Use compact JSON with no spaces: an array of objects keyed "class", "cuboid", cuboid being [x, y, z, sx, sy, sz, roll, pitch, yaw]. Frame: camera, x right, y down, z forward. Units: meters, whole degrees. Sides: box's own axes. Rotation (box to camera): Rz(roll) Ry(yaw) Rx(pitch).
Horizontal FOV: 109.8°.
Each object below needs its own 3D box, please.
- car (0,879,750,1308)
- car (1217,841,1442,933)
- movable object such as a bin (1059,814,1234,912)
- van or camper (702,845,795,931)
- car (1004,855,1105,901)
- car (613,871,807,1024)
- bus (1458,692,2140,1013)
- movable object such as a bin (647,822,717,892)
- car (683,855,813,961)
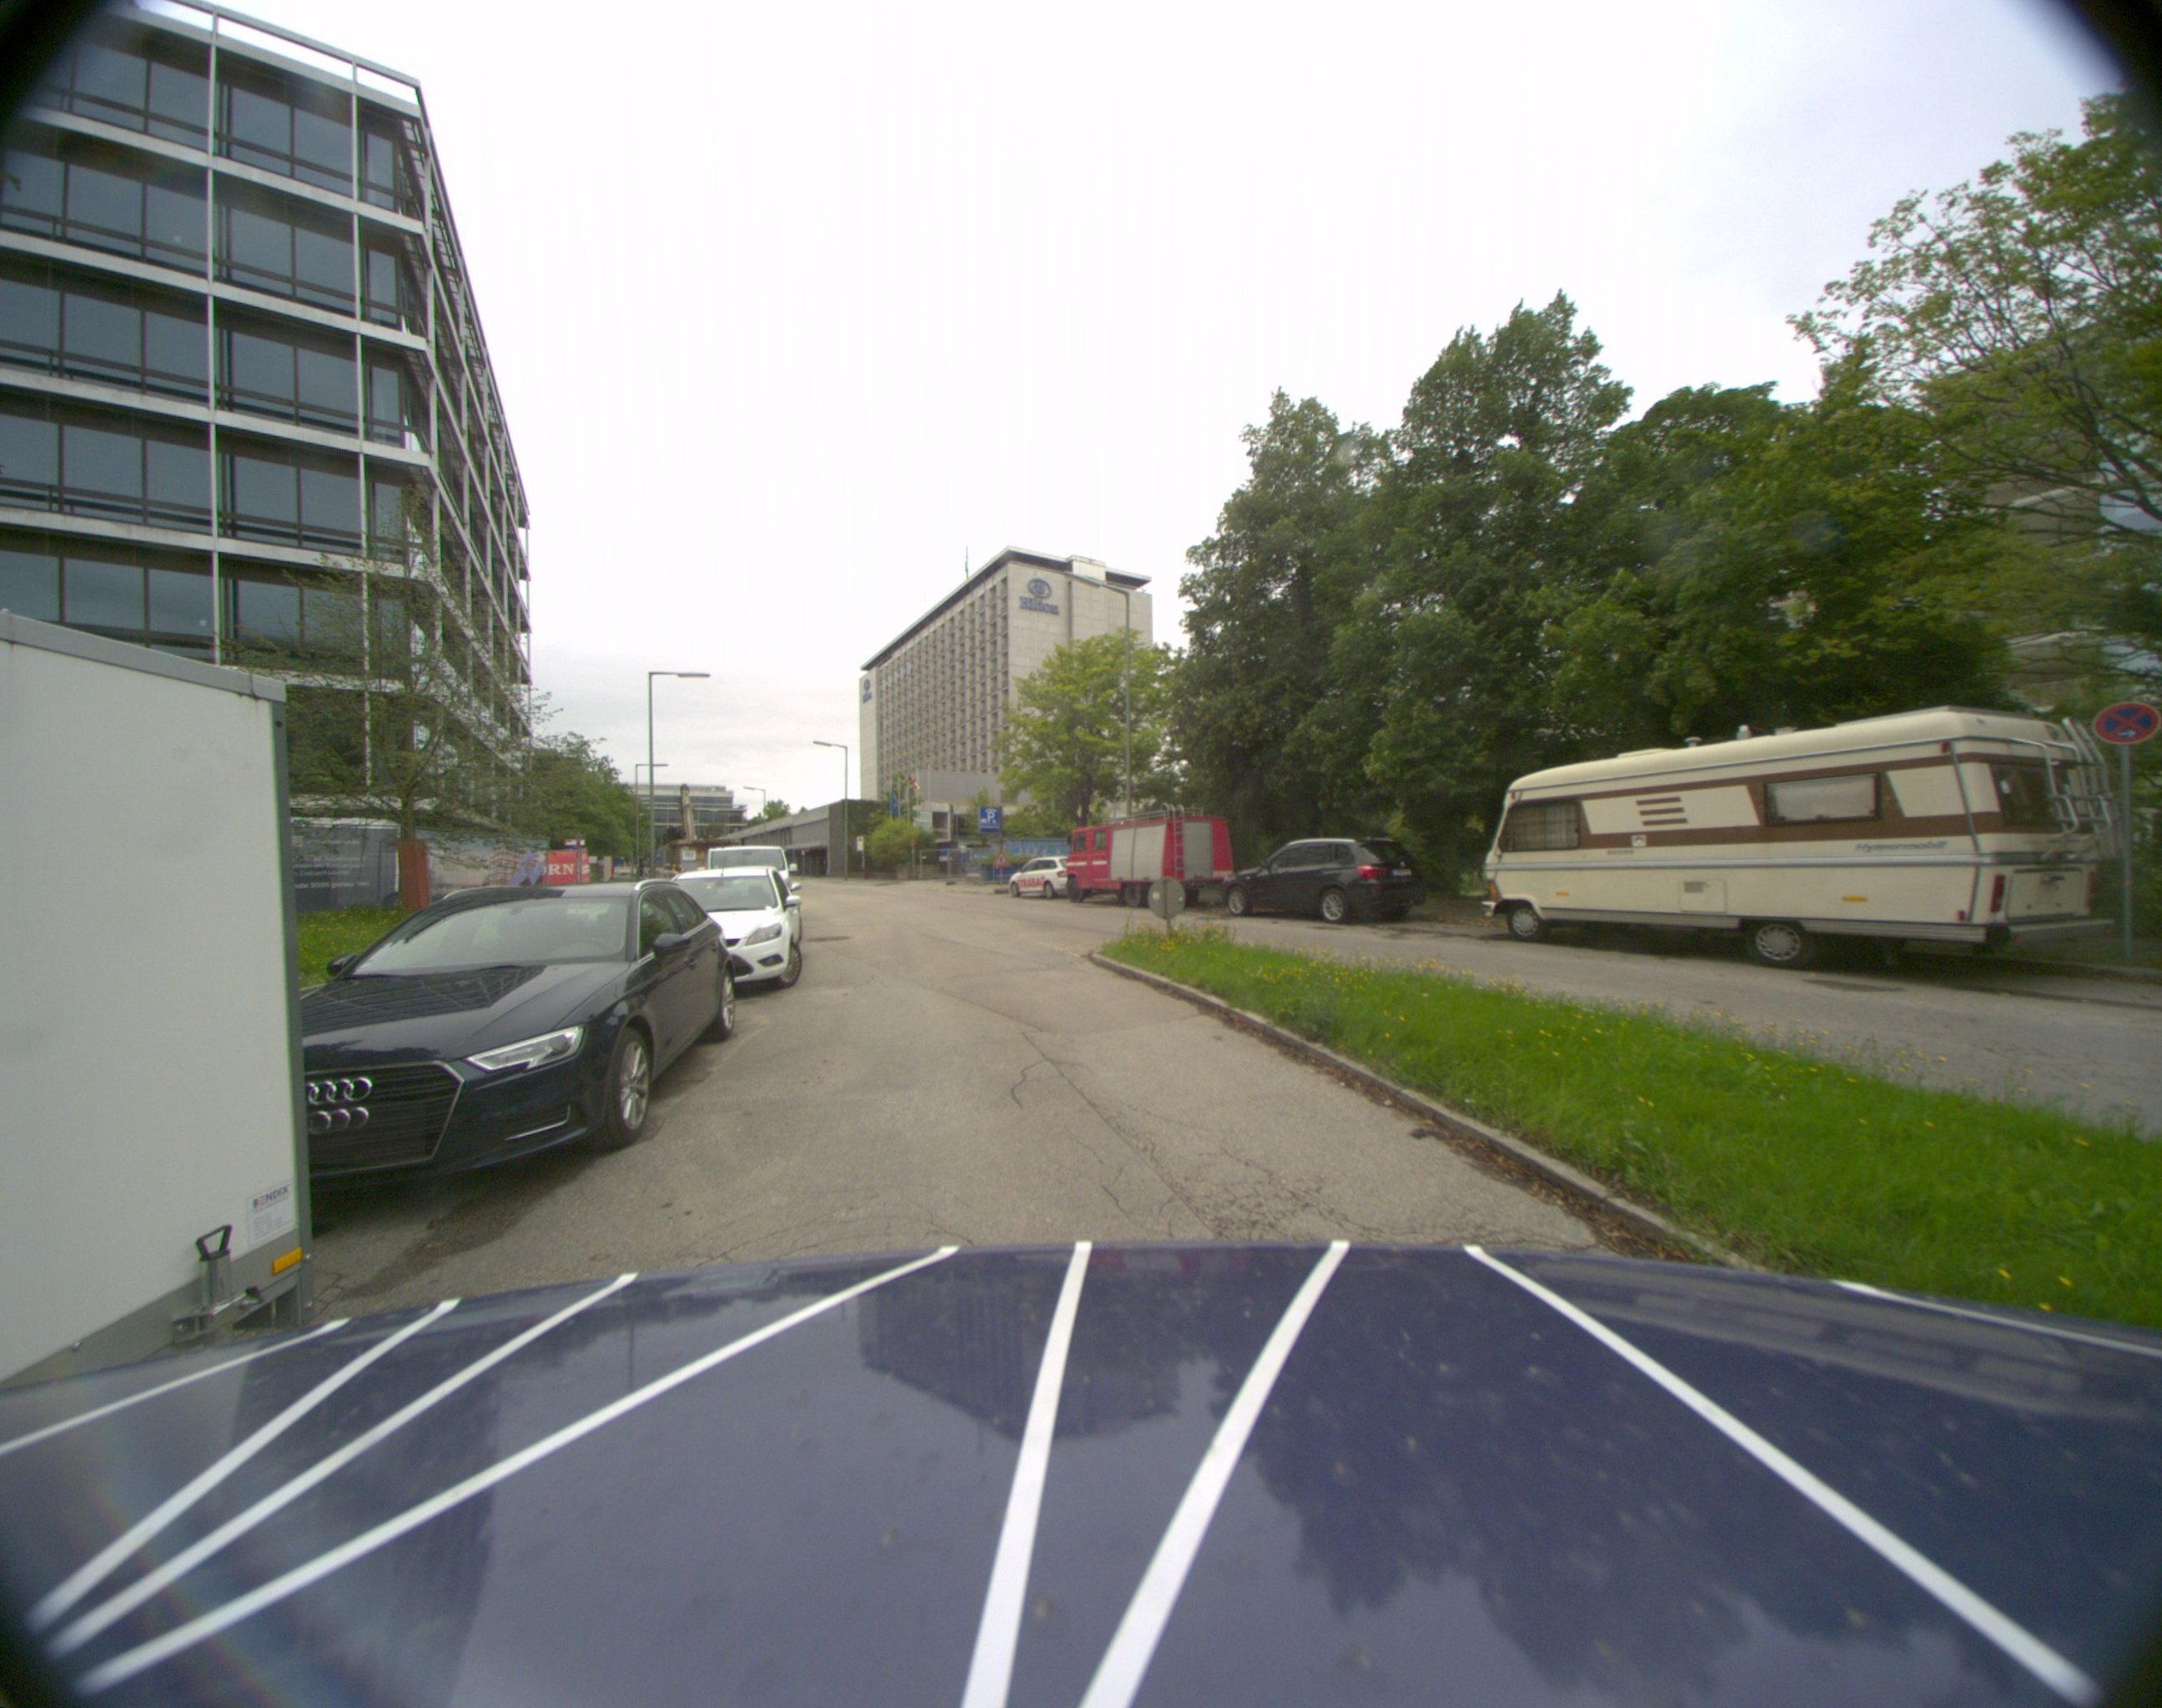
[{"class":"car","cuboid":[-3.603,0.945,5.054,1.879,1.428,4.323,0,0,-14]},{"class":"car","cuboid":[4.968,0.595,15.893,1.784,1.640,4.450,-1,0,-29]},{"class":"movable object such as a bin","cuboid":[1.634,0.240,22.101,2.114,2.444,6.173,-1,0,-27]},{"class":"van or camper","cuboid":[-9.063,0.779,20.550,2.003,2.002,5.365,-1,1,-26]},{"class":"car","cuboid":[-1.059,0.818,28.067,1.785,1.540,4.246,-1,0,-33]},{"class":"car","cuboid":[-4.706,1.031,10.234,1.774,1.477,4.214,-1,0,-18]},{"class":"bus","cuboid":[7.925,-0.007,9.452,2.325,2.683,5.724,-1,0,-21]},{"class":"movable object such as a bin","cuboid":[-23.484,0.133,45.076,3.256,3.695,8.988,-1,1,-26]},{"class":"car","cuboid":[-6.564,0.898,15.001,2.002,1.718,4.440,-1,1,-24]}]
